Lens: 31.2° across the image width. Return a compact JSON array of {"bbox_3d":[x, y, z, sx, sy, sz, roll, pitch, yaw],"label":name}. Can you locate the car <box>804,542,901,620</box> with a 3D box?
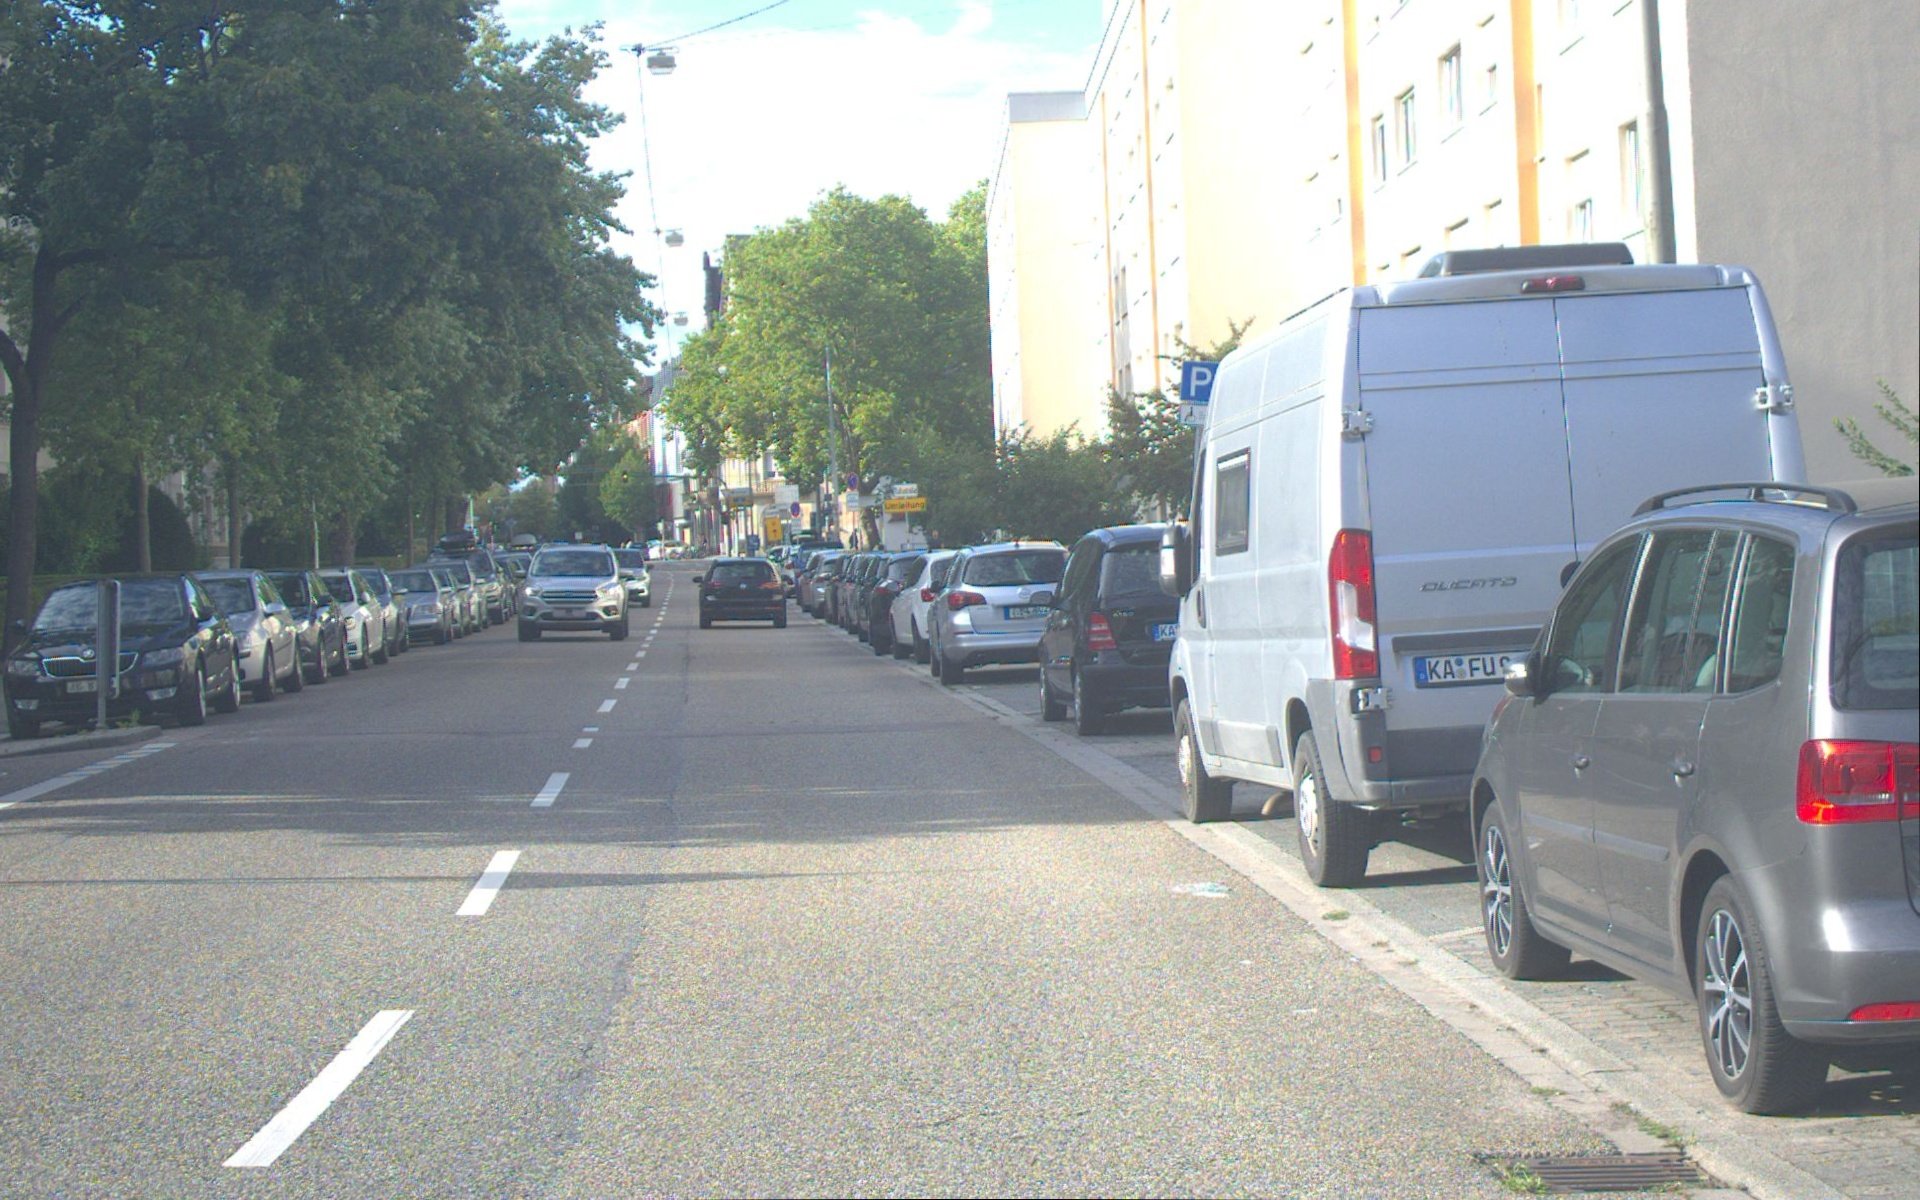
[{"bbox_3d":[-2.348,-0.431,75.295,1.993,1.568,4.000,-3,1,-2],"label":"car"}]

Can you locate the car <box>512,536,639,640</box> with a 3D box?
[{"bbox_3d":[-6.759,-0.230,60.283,2.055,1.658,3.927,-3,1,-7],"label":"car"}]

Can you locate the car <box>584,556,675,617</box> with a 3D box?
[{"bbox_3d":[-8.942,-0.390,92.677,1.993,1.565,4.001,-1,1,-12],"label":"car"}]

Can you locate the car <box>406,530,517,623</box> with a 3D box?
[{"bbox_3d":[-11.444,-0.562,79.127,1.993,2.007,4.000,-3,1,-2],"label":"car"}]

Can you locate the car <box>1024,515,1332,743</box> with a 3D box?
[{"bbox_3d":[1.632,0.173,27.099,1.993,1.568,4.000,-3,1,-2],"label":"car"}]

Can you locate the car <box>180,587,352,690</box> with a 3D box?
[{"bbox_3d":[-8.717,0.458,43.391,1.806,1.112,3.592,-3,1,-7],"label":"car"}]

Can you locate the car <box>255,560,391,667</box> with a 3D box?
[{"bbox_3d":[-9.006,0.160,48.802,1.637,1.385,3.434,-3,1,-7],"label":"car"}]

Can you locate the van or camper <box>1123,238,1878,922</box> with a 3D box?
[{"bbox_3d":[2.277,-0.124,16.270,2.209,2.598,5.372,-3,1,-5],"label":"van or camper"}]

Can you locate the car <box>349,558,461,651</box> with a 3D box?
[{"bbox_3d":[-10.054,0.054,62.493,1.806,1.556,3.434,-3,1,-7],"label":"car"}]

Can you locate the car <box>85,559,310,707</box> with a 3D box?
[{"bbox_3d":[-8.344,0.320,37.923,1.993,1.446,3.905,-3,1,-7],"label":"car"}]

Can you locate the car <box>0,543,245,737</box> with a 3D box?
[{"bbox_3d":[-7.988,0.328,32.560,1.993,1.634,4.001,-3,1,-7],"label":"car"}]

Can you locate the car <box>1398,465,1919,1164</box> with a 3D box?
[{"bbox_3d":[2.760,0.423,10.245,1.993,1.610,4.409,-3,1,-4],"label":"car"}]

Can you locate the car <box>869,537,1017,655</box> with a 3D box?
[{"bbox_3d":[-0.287,-0.092,50.281,1.993,1.568,4.000,-3,1,-2],"label":"car"}]

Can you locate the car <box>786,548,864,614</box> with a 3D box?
[{"bbox_3d":[-3.649,-0.536,93.553,1.993,1.678,4.000,-3,1,-2],"label":"car"}]

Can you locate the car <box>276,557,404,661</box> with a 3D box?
[{"bbox_3d":[-10.109,0.120,56.224,1.806,1.556,3.434,-3,1,-7],"label":"car"}]

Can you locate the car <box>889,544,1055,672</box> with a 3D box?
[{"bbox_3d":[0.111,0.066,45.523,1.993,1.525,4.000,-3,1,-2],"label":"car"}]

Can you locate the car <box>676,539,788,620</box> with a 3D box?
[{"bbox_3d":[-4.667,-0.431,69.788,1.993,1.565,4.001,-1,1,-7],"label":"car"}]

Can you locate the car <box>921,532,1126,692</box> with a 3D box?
[{"bbox_3d":[0.636,0.088,37.750,1.993,1.568,4.000,-3,1,-2],"label":"car"}]

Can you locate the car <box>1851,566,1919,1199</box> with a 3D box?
[{"bbox_3d":[2.972,0.629,5.049,2.015,1.470,4.802,-3,0,0],"label":"car"}]
